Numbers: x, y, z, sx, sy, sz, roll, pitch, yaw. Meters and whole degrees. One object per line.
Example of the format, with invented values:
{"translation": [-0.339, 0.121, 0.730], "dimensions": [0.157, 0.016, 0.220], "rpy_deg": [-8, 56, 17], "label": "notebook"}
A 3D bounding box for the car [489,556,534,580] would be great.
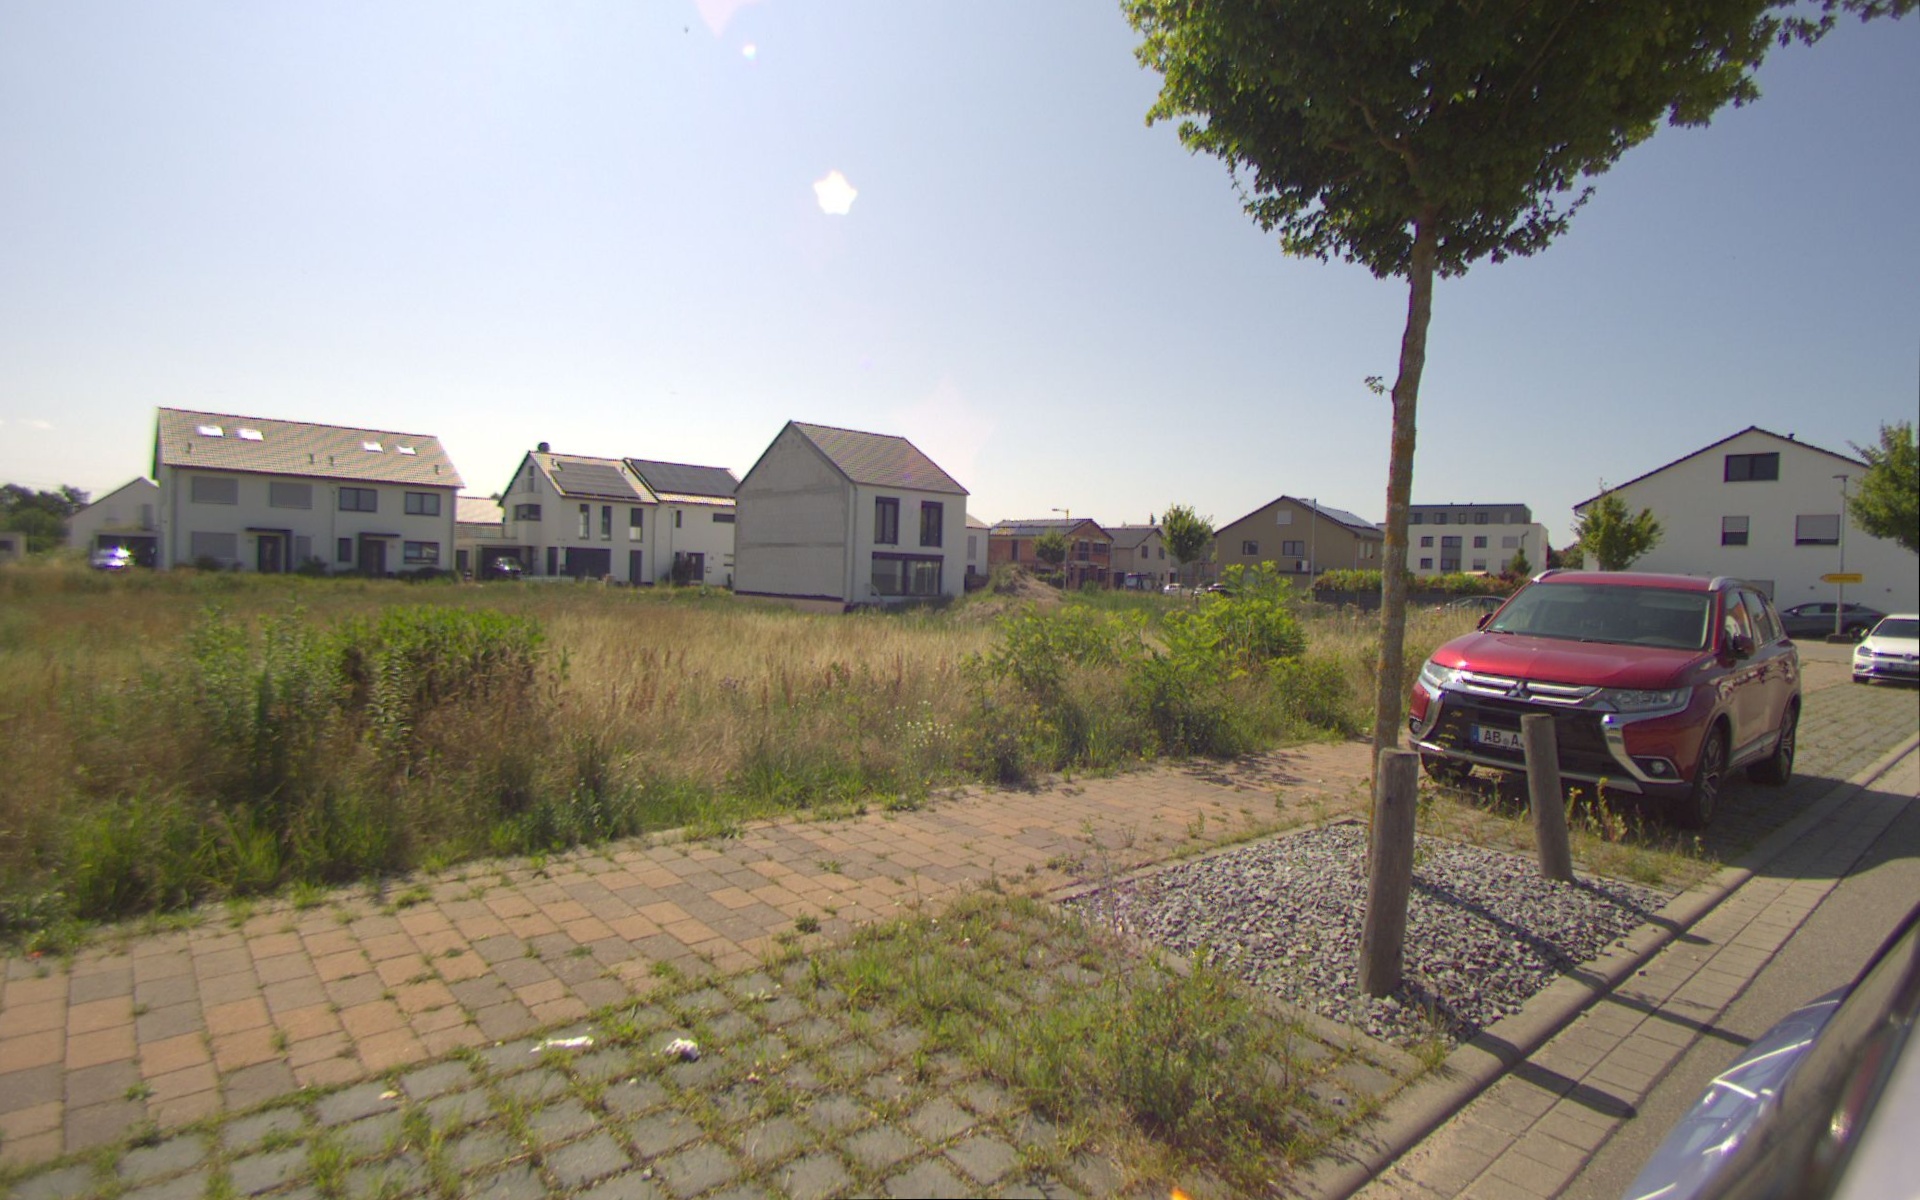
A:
{"translation": [-29.584, -2.130, 66.708], "dimensions": [1.782, 1.531, 3.999], "rpy_deg": [1, 2, -37], "label": "car"}

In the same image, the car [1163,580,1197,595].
{"translation": [21.663, -1.202, 99.523], "dimensions": [1.660, 1.418, 3.864], "rpy_deg": [3, 2, 40], "label": "car"}

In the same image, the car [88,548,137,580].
{"translation": [-45.112, -1.907, 53.911], "dimensions": [1.782, 1.593, 3.999], "rpy_deg": [1, 2, -37], "label": "car"}

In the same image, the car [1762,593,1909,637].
{"translation": [35.613, 0.570, 41.257], "dimensions": [1.927, 1.577, 4.342], "rpy_deg": [1, 1, -43], "label": "car"}

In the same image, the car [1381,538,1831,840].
{"translation": [5.163, 0.486, 7.818], "dimensions": [4.357, 1.683, 1.780], "rpy_deg": [1, 2, -42], "label": "car"}

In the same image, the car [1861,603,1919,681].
{"translation": [19.836, 0.858, 20.525], "dimensions": [4.092, 1.437, 1.779], "rpy_deg": [1, 3, -41], "label": "car"}

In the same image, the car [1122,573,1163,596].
{"translation": [17.020, -1.457, 94.182], "dimensions": [1.991, 2.038, 3.942], "rpy_deg": [3, 2, 40], "label": "car"}

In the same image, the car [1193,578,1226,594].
{"translation": [25.698, -1.454, 104.359], "dimensions": [1.742, 1.521, 3.942], "rpy_deg": [3, 2, 40], "label": "car"}
